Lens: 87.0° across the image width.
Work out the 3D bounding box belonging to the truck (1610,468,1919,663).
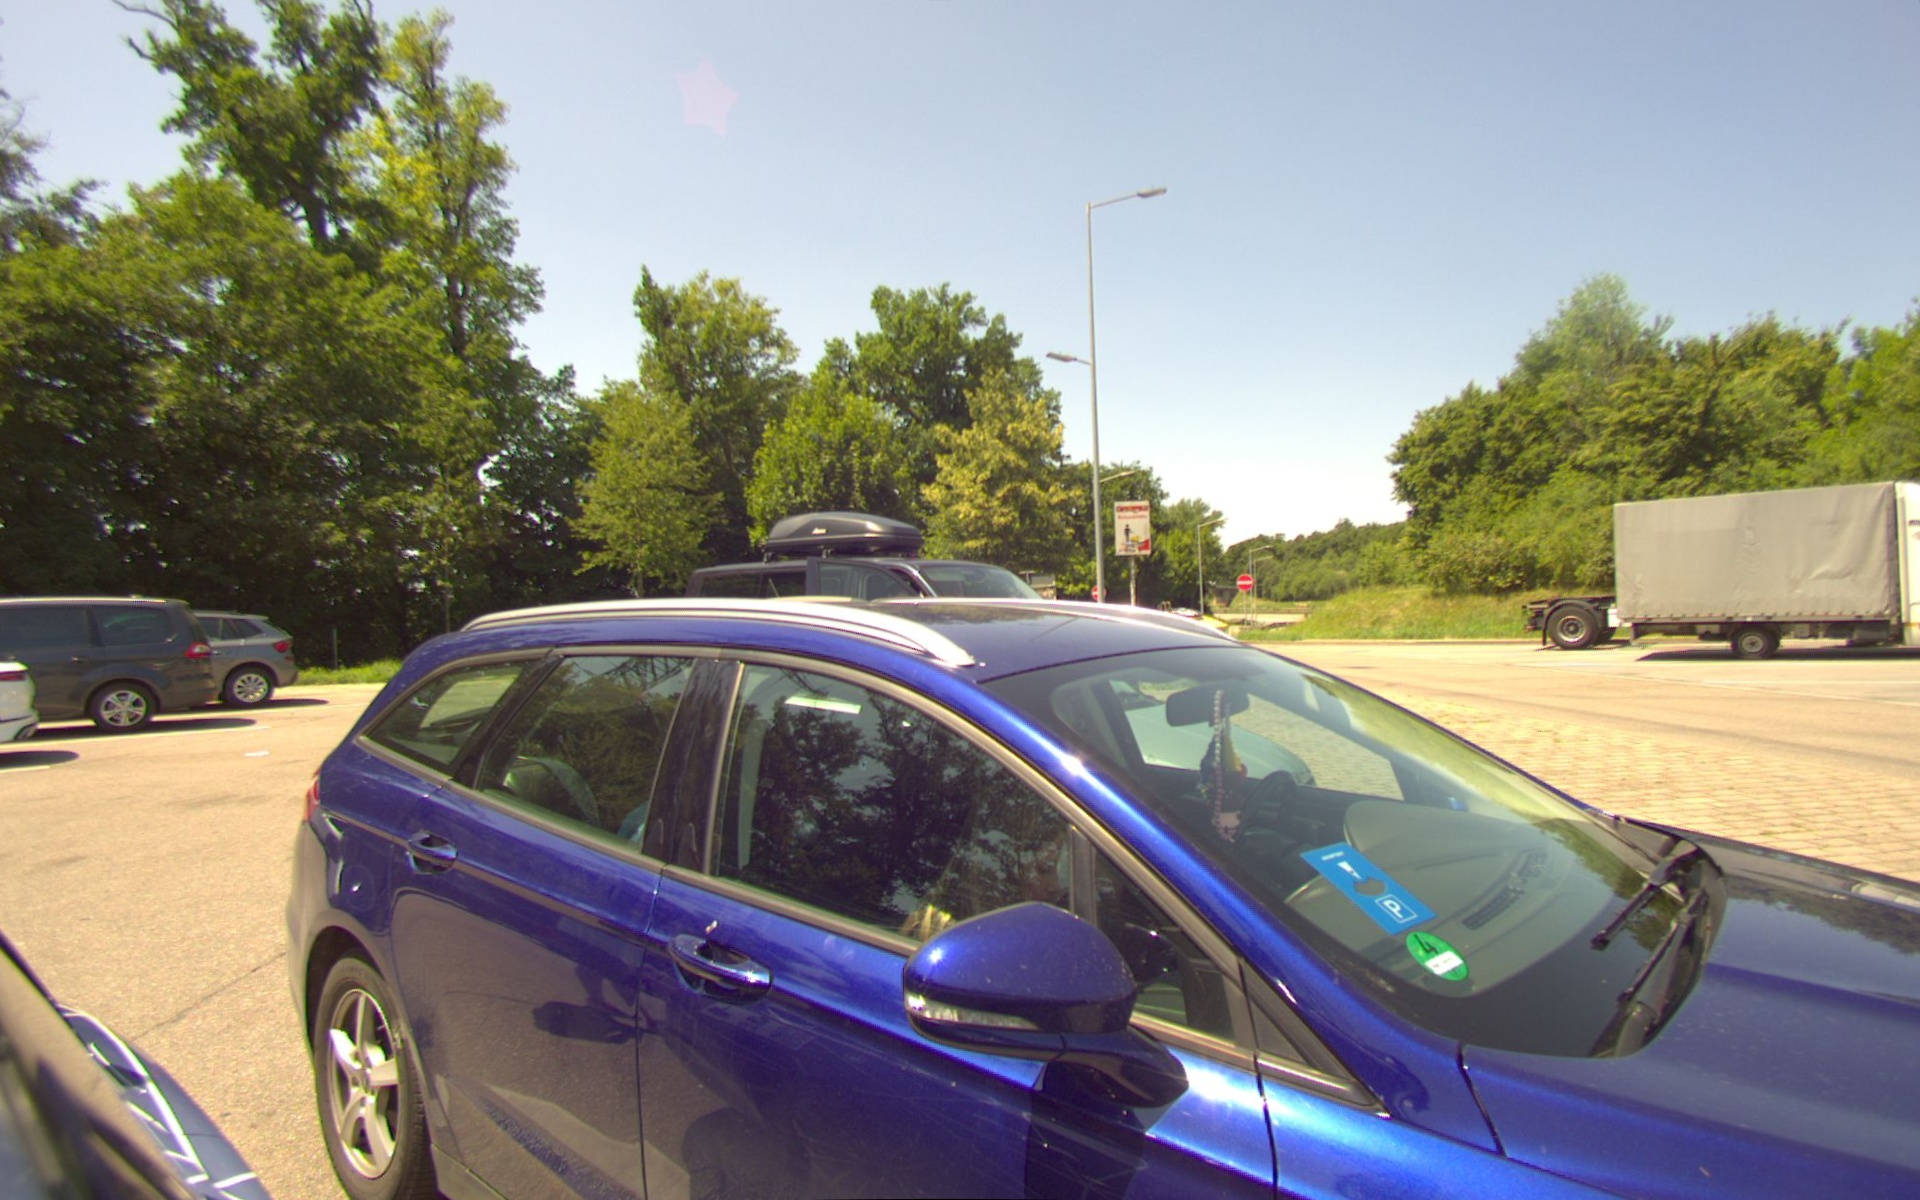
[{"bbox_3d":[16.714,-0.618,18.851,7.308,3.258,2.294,-5,-2,43],"label":"truck"}]

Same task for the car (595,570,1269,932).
[{"bbox_3d":[-0.362,0.649,5.812,3.739,1.424,1.587,-2,-1,40],"label":"car"}]

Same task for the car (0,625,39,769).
[{"bbox_3d":[-10.957,0.943,9.205,3.753,1.377,1.804,0,-1,-45],"label":"car"}]

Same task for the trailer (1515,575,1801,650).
[{"bbox_3d":[16.334,0.348,23.924,5.393,1.608,1.576,-2,-1,41],"label":"trailer"}]

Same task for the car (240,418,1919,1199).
[{"bbox_3d":[0.242,0.649,2.091,4.427,1.455,1.763,-2,-1,40],"label":"car"}]

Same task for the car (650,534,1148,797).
[{"bbox_3d":[-0.729,0.533,9.423,4.427,1.875,2.022,-2,-1,40],"label":"car"}]

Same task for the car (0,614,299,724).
[{"bbox_3d":[-12.593,0.972,15.619,3.753,1.488,1.743,0,-1,-45],"label":"car"}]

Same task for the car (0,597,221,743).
[{"bbox_3d":[-11.710,0.836,12.593,3.830,1.703,1.883,0,-2,-45],"label":"car"}]
